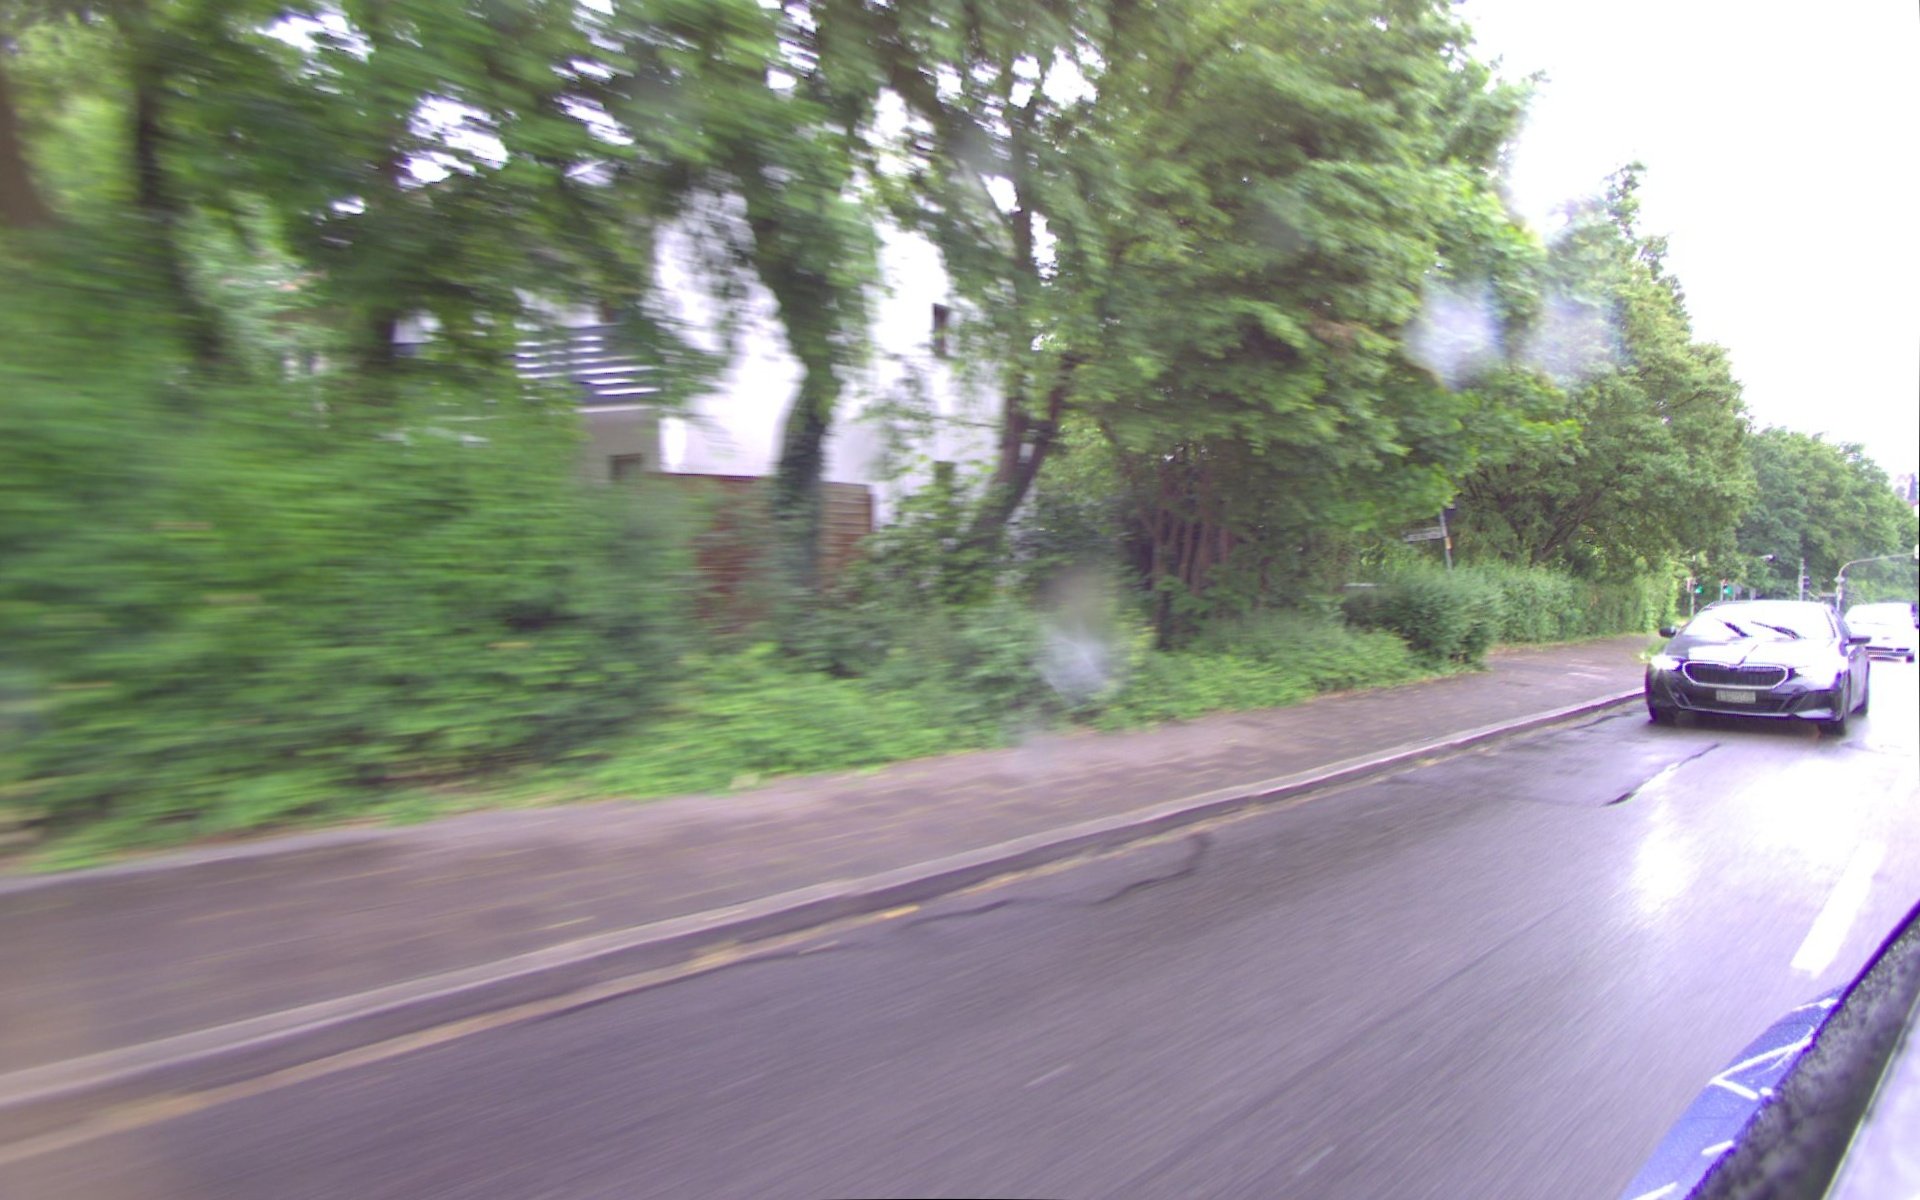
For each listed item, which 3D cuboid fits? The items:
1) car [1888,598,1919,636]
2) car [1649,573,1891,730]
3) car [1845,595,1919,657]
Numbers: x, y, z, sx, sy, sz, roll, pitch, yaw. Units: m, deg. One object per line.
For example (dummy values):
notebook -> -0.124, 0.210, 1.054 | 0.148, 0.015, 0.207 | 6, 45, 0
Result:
car -> 48.900, 0.884, 51.821 | 1.811, 1.830, 4.053 | 4, 2, 45
car -> 10.245, 0.524, 12.688 | 4.052, 1.574, 1.864 | 0, 3, -45
car -> 26.831, 0.725, 29.052 | 4.052, 1.575, 1.811 | 1, 2, -45
